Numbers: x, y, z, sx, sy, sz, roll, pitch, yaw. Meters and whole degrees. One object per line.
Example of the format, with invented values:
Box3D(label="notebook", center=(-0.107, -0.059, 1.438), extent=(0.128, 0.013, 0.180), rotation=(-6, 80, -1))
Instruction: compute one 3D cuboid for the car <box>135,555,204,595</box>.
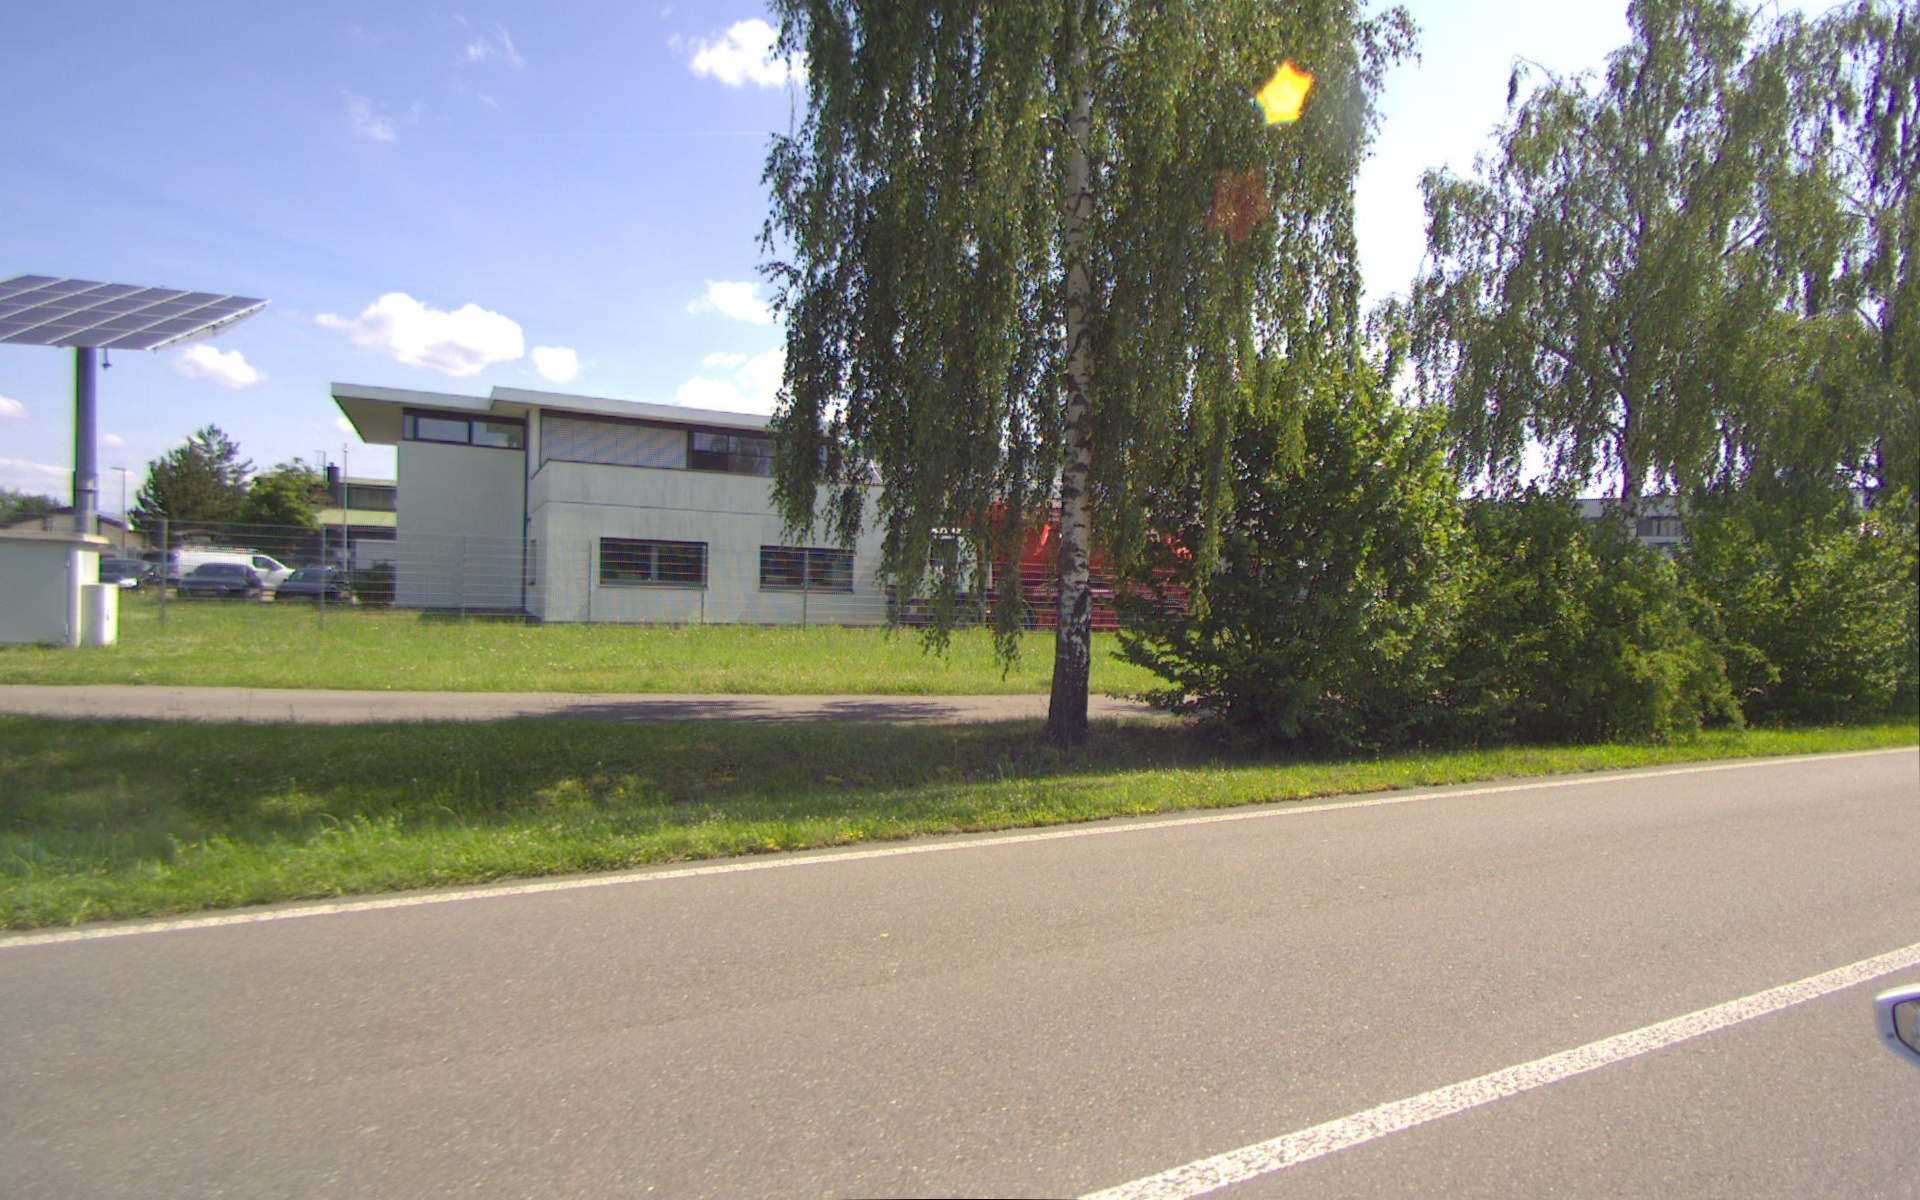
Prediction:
Box3D(label="car", center=(-38.785, -1.258, 49.366), extent=(1.975, 1.874, 3.969), rotation=(1, 2, -28))

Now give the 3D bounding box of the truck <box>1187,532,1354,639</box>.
Box3D(label="truck", center=(10.919, -0.455, 35.321), extent=(5.374, 3.499, 2.425), rotation=(1, 2, -28))

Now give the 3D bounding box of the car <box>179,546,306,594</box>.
Box3D(label="car", center=(-33.345, -1.391, 46.883), extent=(4.690, 2.041, 1.982), rotation=(1, 2, -33))

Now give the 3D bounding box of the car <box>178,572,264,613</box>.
Box3D(label="car", center=(-25.855, -0.299, 35.284), extent=(1.780, 1.261, 3.971), rotation=(1, 2, -27))

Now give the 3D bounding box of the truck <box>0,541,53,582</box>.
Box3D(label="truck", center=(-66.611, -2.700, 68.218), extent=(7.101, 2.701, 2.129), rotation=(1, 2, -28))

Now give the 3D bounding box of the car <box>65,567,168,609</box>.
Box3D(label="car", center=(-28.374, -0.431, 33.926), extent=(1.780, 1.261, 3.971), rotation=(1, 2, -27))

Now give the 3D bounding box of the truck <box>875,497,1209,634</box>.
Box3D(label="truck", center=(2.662, -0.879, 30.383), extent=(10.138, 3.606, 2.741), rotation=(1, 2, -28))

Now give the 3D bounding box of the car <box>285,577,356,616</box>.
Box3D(label="car", center=(-23.171, -0.150, 36.503), extent=(1.780, 1.261, 3.971), rotation=(1, 2, -27))
